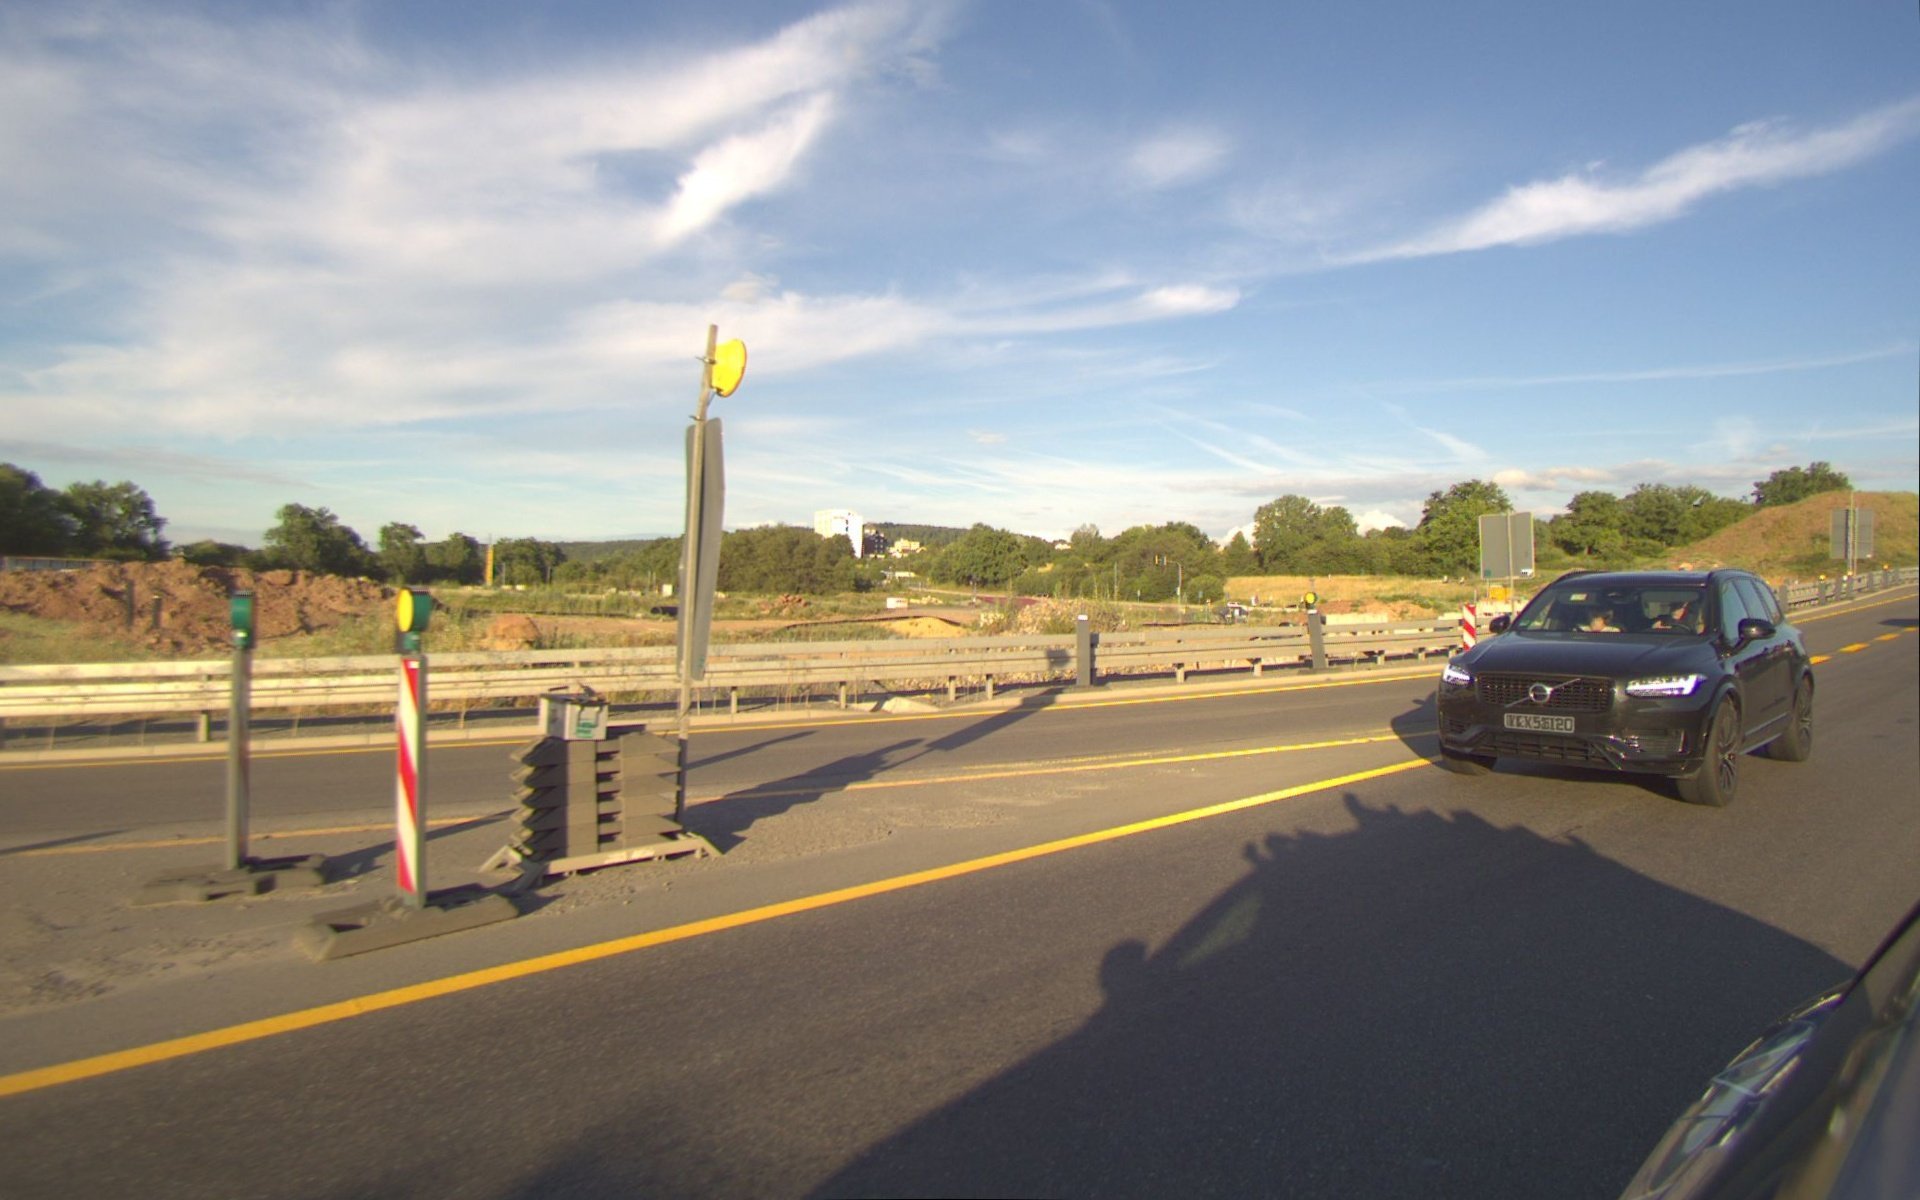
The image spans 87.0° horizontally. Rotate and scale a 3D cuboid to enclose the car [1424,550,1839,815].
[{"bbox_3d":[6.113,0.521,8.940,4.803,1.735,1.900,-1,0,-42],"label":"car"}]
